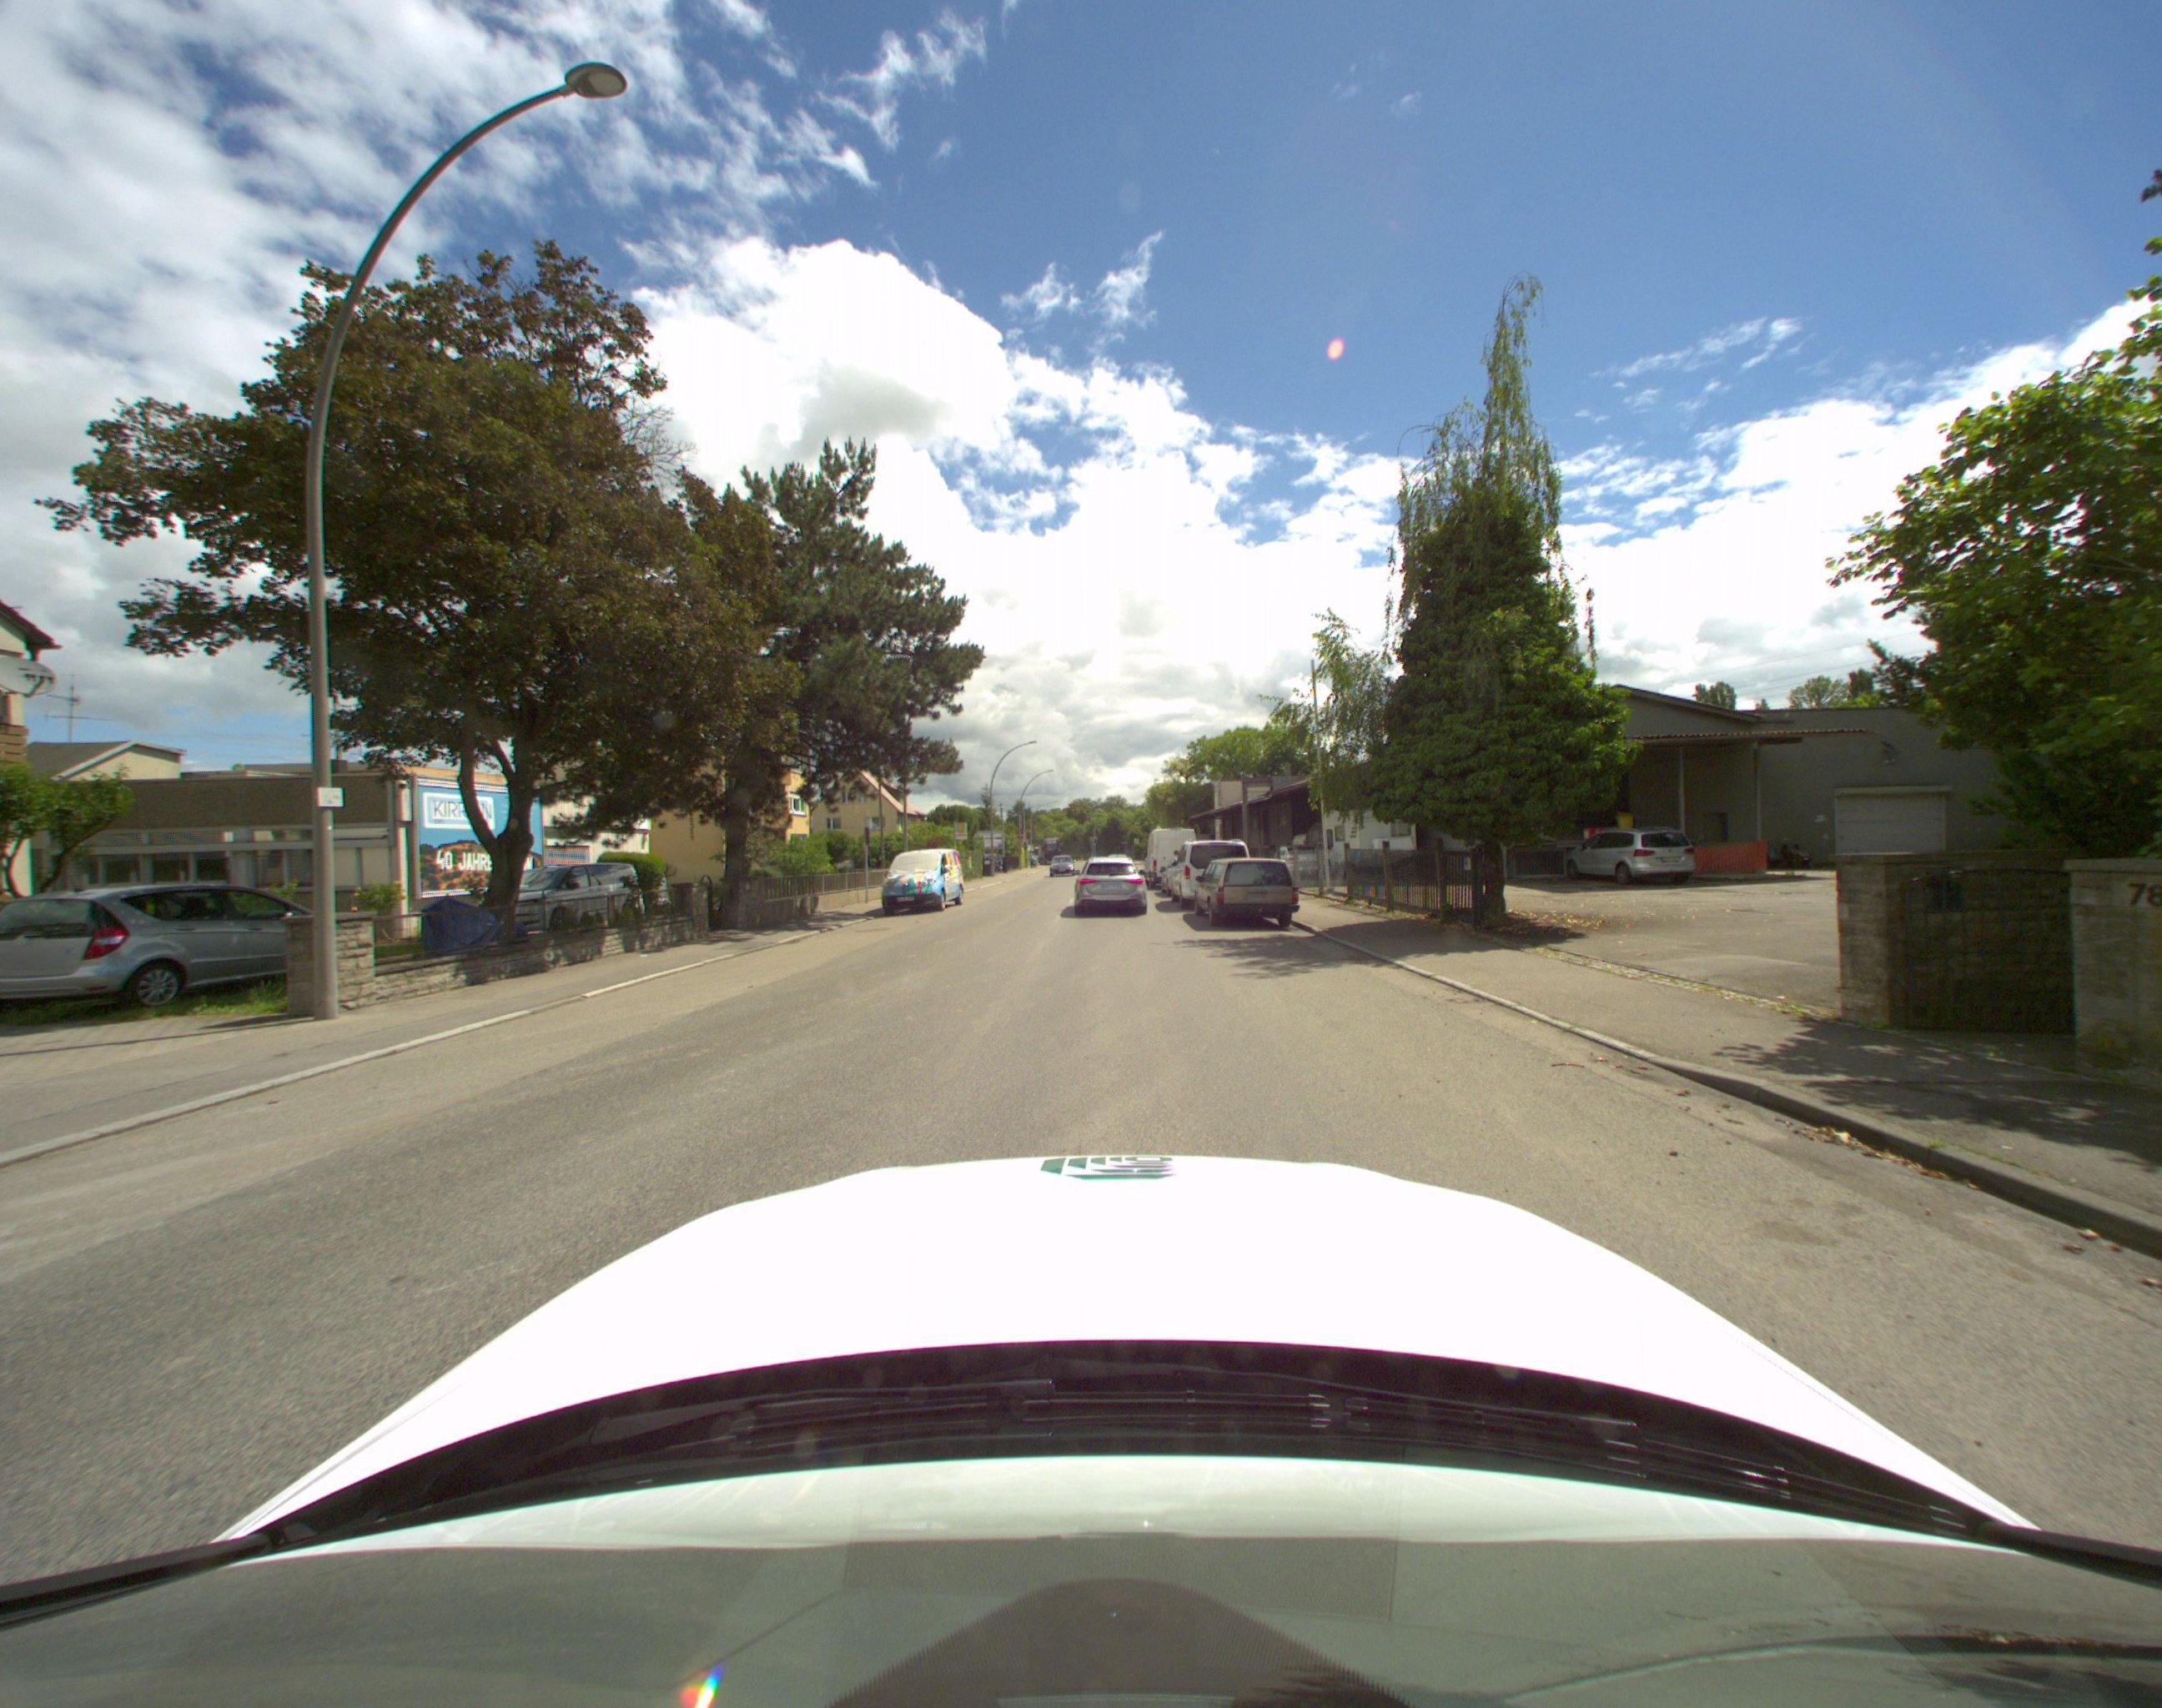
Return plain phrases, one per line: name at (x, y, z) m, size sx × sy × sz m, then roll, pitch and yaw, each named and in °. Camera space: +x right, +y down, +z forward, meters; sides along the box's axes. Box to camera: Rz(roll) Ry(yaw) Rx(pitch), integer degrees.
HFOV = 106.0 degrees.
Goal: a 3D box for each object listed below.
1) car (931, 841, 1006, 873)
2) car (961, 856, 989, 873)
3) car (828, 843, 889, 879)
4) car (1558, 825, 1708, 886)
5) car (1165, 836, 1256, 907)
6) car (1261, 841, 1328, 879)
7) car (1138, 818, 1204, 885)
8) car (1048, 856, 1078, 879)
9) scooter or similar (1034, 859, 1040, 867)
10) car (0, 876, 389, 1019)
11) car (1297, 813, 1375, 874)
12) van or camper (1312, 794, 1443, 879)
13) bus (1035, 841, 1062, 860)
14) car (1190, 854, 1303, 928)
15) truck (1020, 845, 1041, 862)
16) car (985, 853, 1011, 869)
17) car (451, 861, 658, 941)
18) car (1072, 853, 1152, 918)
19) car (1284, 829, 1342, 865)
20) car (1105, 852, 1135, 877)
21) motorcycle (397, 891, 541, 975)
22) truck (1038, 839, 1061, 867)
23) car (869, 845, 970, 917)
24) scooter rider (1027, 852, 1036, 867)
car at (-9.652, 0.237, 70.383) m, size 6.014 × 2.496 × 2.478 m, roll -2°, pitch 0°, yaw 1°
car at (-10.358, 1.037, 79.656) m, size 2.147 × 1.507 × 4.266 m, roll -2°, pitch 0°, yaw -1°
car at (-16.995, 0.479, 62.702) m, size 2.401 × 2.495 × 6.143 m, roll -4°, pitch 0°, yaw 5°
car at (17.679, -0.031, 26.401) m, size 1.810 × 1.751 × 4.817 m, roll -2°, pitch 2°, yaw 3°
car at (3.701, 0.452, 24.175) m, size 1.898 × 1.885 × 5.390 m, roll 0°, pitch 0°, yaw 1°
car at (9.278, 0.200, 35.724) m, size 1.758 × 1.489 × 4.928 m, roll -2°, pitch 1°, yaw 2°
car at (3.963, -0.109, 37.011) m, size 2.207 × 2.689 × 6.658 m, roll -2°, pitch 0°, yaw 1°
car at (-1.263, 0.939, 58.312) m, size 1.894 × 1.518 × 4.319 m, roll -2°, pitch 0°, yaw 1°
scooter or similar at (-4.953, 1.001, 90.918) m, size 0.609 × 0.831 × 0.659 m, roll 0°, pitch 0°, yaw 2°
car at (-12.523, 1.168, 11.671) m, size 1.762 × 1.543 × 4.084 m, roll -2°, pitch 0°, yaw -2°
car at (12.263, -0.528, 39.584) m, size 2.011 × 2.681 × 5.498 m, roll -2°, pitch 1°, yaw 0°
van or camper at (11.946, -0.642, 33.562) m, size 2.871 × 3.060 × 6.913 m, roll -2°, pitch 0°, yaw 0°
bus at (-6.350, -0.582, 156.781) m, size 2.782 × 3.266 × 12.064 m, roll -3°, pitch 0°, yaw -14°
car at (3.615, 0.730, 18.649) m, size 1.748 × 1.450 × 4.996 m, roll 0°, pitch 0°, yaw 2°
truck at (-10.974, -0.102, 176.871) m, size 2.844 × 3.540 × 9.677 m, roll -2°, pitch 0°, yaw -14°
car at (-7.993, 0.656, 78.746) m, size 2.147 × 1.507 × 4.266 m, roll -2°, pitch 0°, yaw -1°
car at (-14.443, 1.184, 22.869) m, size 2.072 × 1.830 × 5.481 m, roll -3°, pitch 0°, yaw 1°
car at (0.828, 0.756, 21.480) m, size 1.877 × 1.508 × 4.002 m, roll -1°, pitch 0°, yaw 2°
car at (13.141, -0.403, 46.425) m, size 1.986 × 1.910 × 4.855 m, roll -2°, pitch 1°, yaw 2°
car at (2.566, 0.649, 53.364) m, size 1.877 × 1.508 × 4.003 m, roll -1°, pitch 0°, yaw 3°
motorcycle at (-9.431, 1.201, 12.563) m, size 1.855 × 1.165 × 0.828 m, roll -2°, pitch 0°, yaw 18°
truck at (-4.871, -0.098, 123.982) m, size 2.428 × 4.131 × 9.122 m, roll 0°, pitch 0°, yaw -9°
car at (-4.834, 0.725, 25.110) m, size 1.826 × 1.853 × 4.898 m, roll -5°, pitch 1°, yaw 2°
scooter rider at (-5.522, 0.615, 91.385) m, size 0.875 × 1.589 × 0.796 m, roll -2°, pitch 0°, yaw 2°
